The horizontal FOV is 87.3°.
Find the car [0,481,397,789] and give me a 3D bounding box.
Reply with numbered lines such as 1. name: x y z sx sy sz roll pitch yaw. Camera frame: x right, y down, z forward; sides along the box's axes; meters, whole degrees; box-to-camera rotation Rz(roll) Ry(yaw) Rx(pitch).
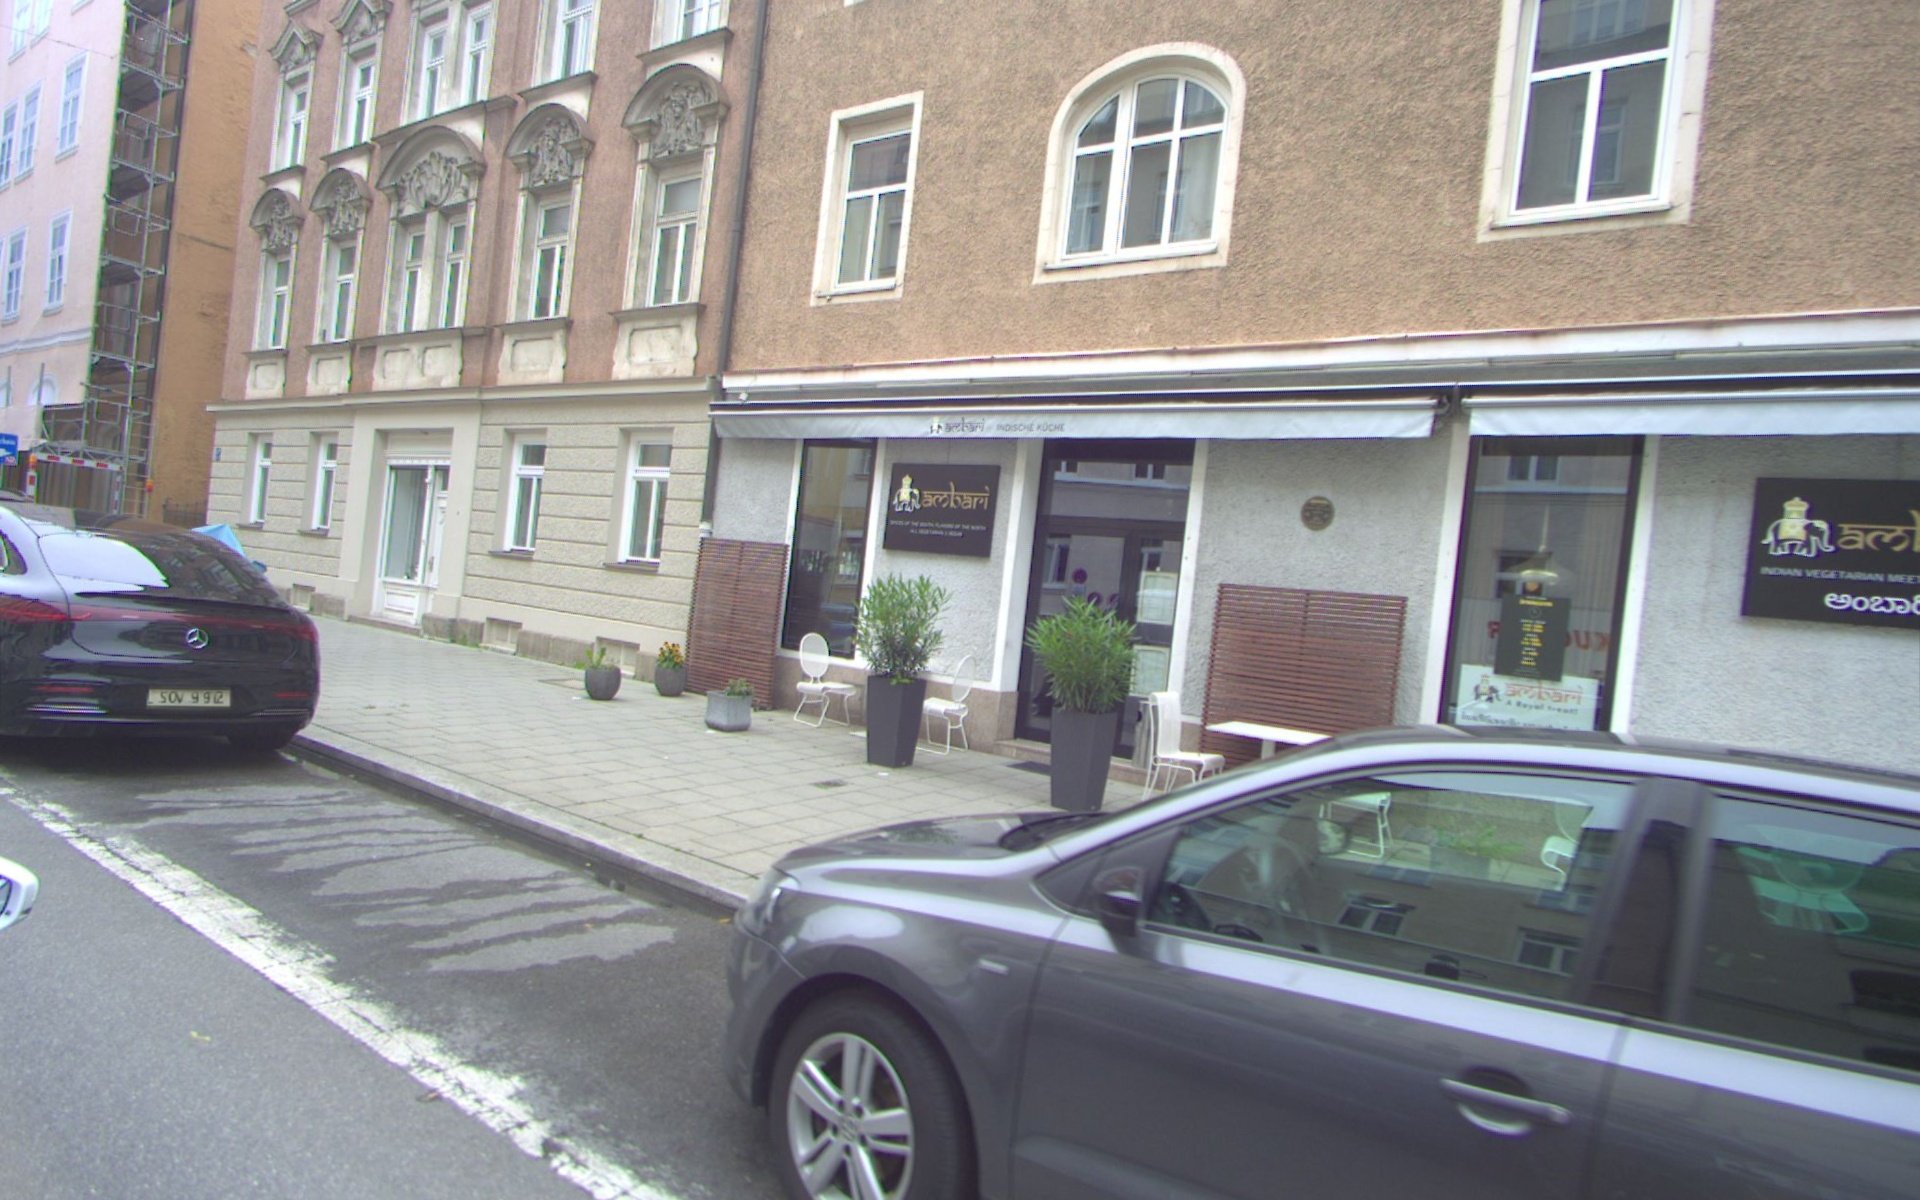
1. car: -6.694 0.009 7.432 5.544 1.571 1.933 6 -1 33

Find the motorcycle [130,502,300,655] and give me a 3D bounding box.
1. motorcycle: -8.509 -0.262 11.465 1.966 1.523 0.872 6 0 35

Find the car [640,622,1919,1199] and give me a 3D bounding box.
1. car: 1.349 0.987 2.237 4.114 1.412 1.573 6 0 33

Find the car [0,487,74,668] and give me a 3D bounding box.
1. car: -11.164 -0.451 10.505 4.338 1.695 1.697 6 -4 35
